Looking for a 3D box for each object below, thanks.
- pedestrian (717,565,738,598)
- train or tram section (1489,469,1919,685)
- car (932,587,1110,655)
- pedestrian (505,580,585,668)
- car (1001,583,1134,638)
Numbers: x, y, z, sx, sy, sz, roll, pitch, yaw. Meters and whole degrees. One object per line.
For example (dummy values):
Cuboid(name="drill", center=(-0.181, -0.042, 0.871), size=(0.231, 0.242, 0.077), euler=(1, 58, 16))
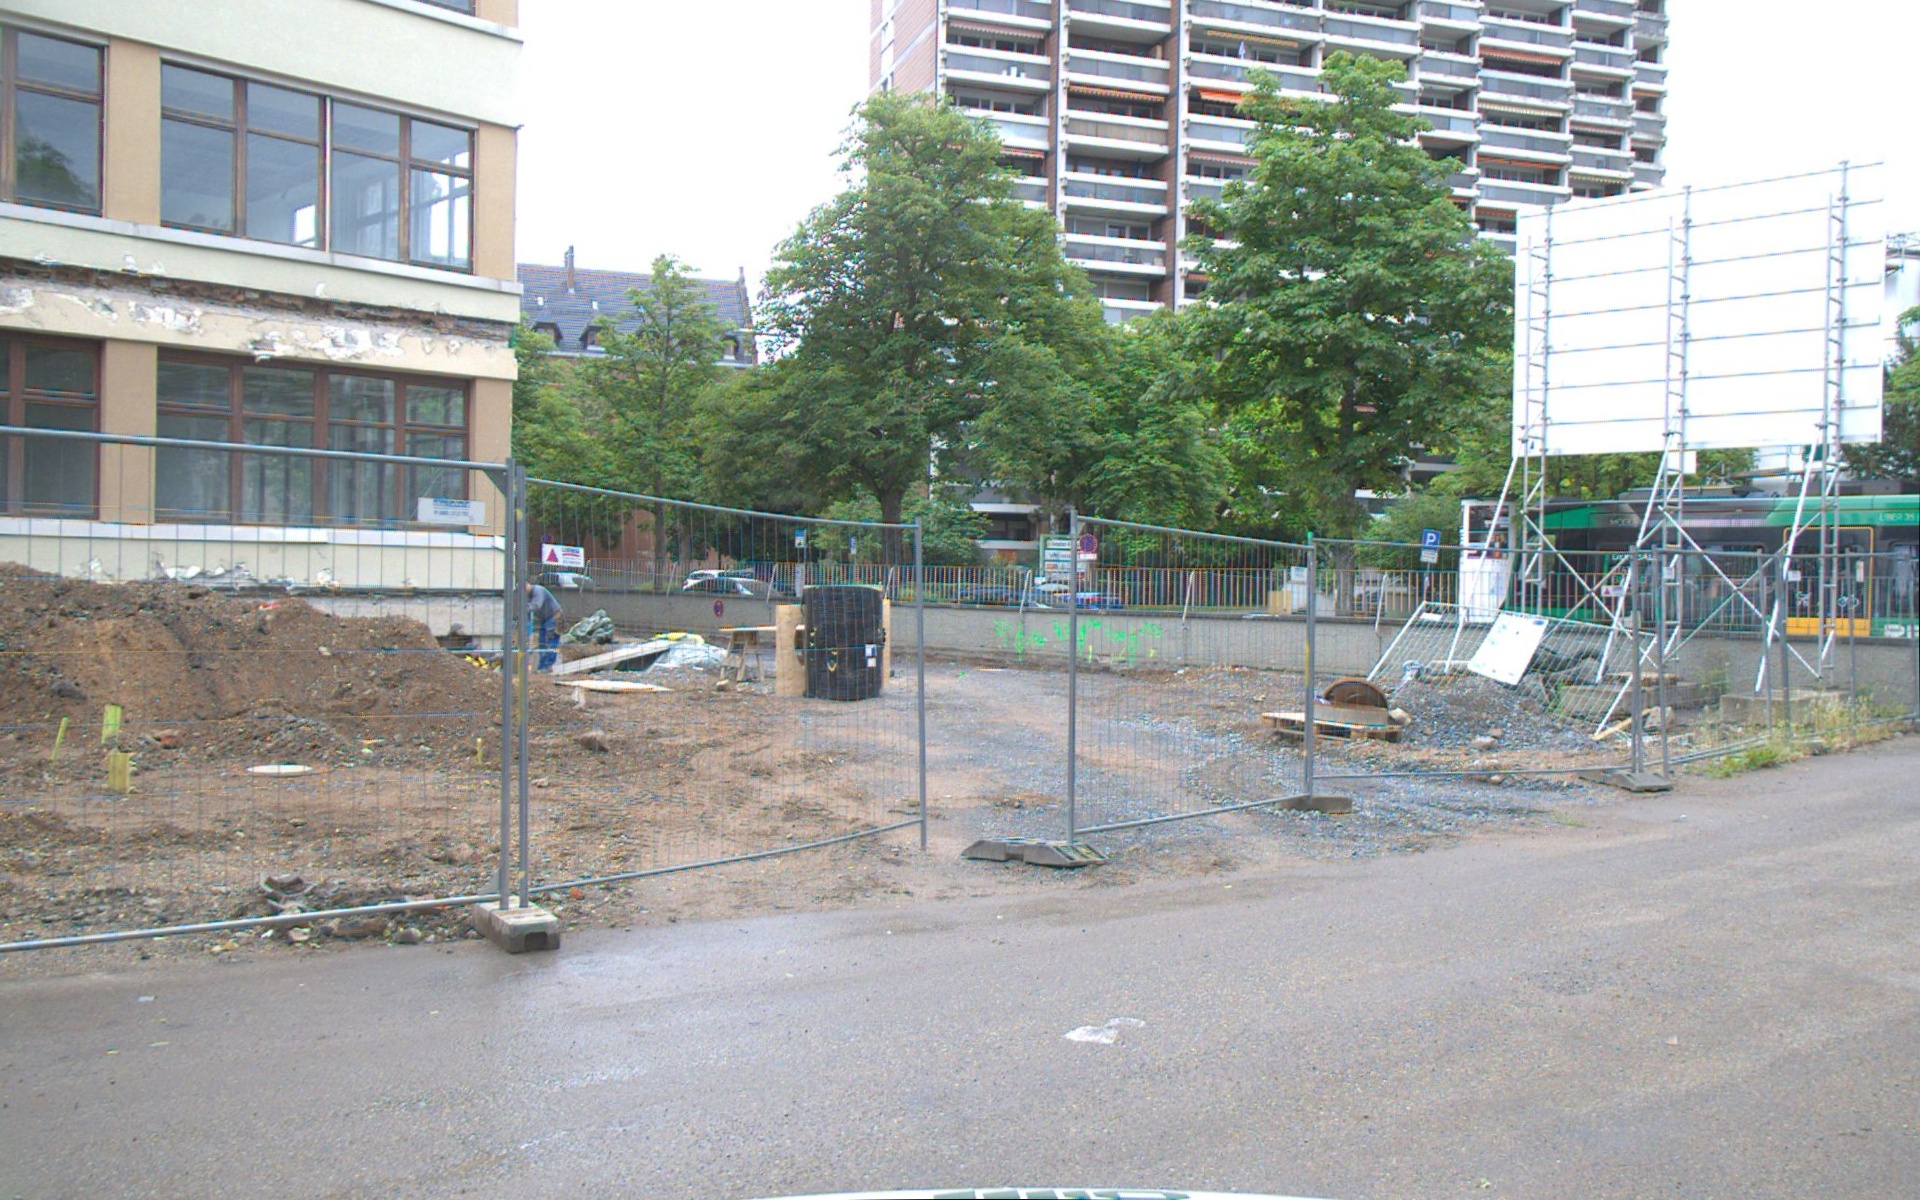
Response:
Cuboid(name="pedestrian", center=(-10.874, -0.869, 77.349), size=(0.511, 1.554, 0.841), euler=(1, 1, 33))
Cuboid(name="train or tram section", center=(16.033, -0.422, 30.415), size=(2.648, 3.677, 12.256), euler=(0, 1, -44))
Cuboid(name="car", center=(1.360, 0.443, 37.942), size=(1.820, 1.443, 3.935), euler=(0, 1, -44))
Cuboid(name="pedestrian", center=(-7.044, 0.399, 28.085), size=(0.914, 1.463, 0.977), euler=(1, 0, 42))
Cuboid(name="car", center=(3.165, 0.280, 49.373), size=(1.591, 1.545, 3.935), euler=(0, 1, -44))
